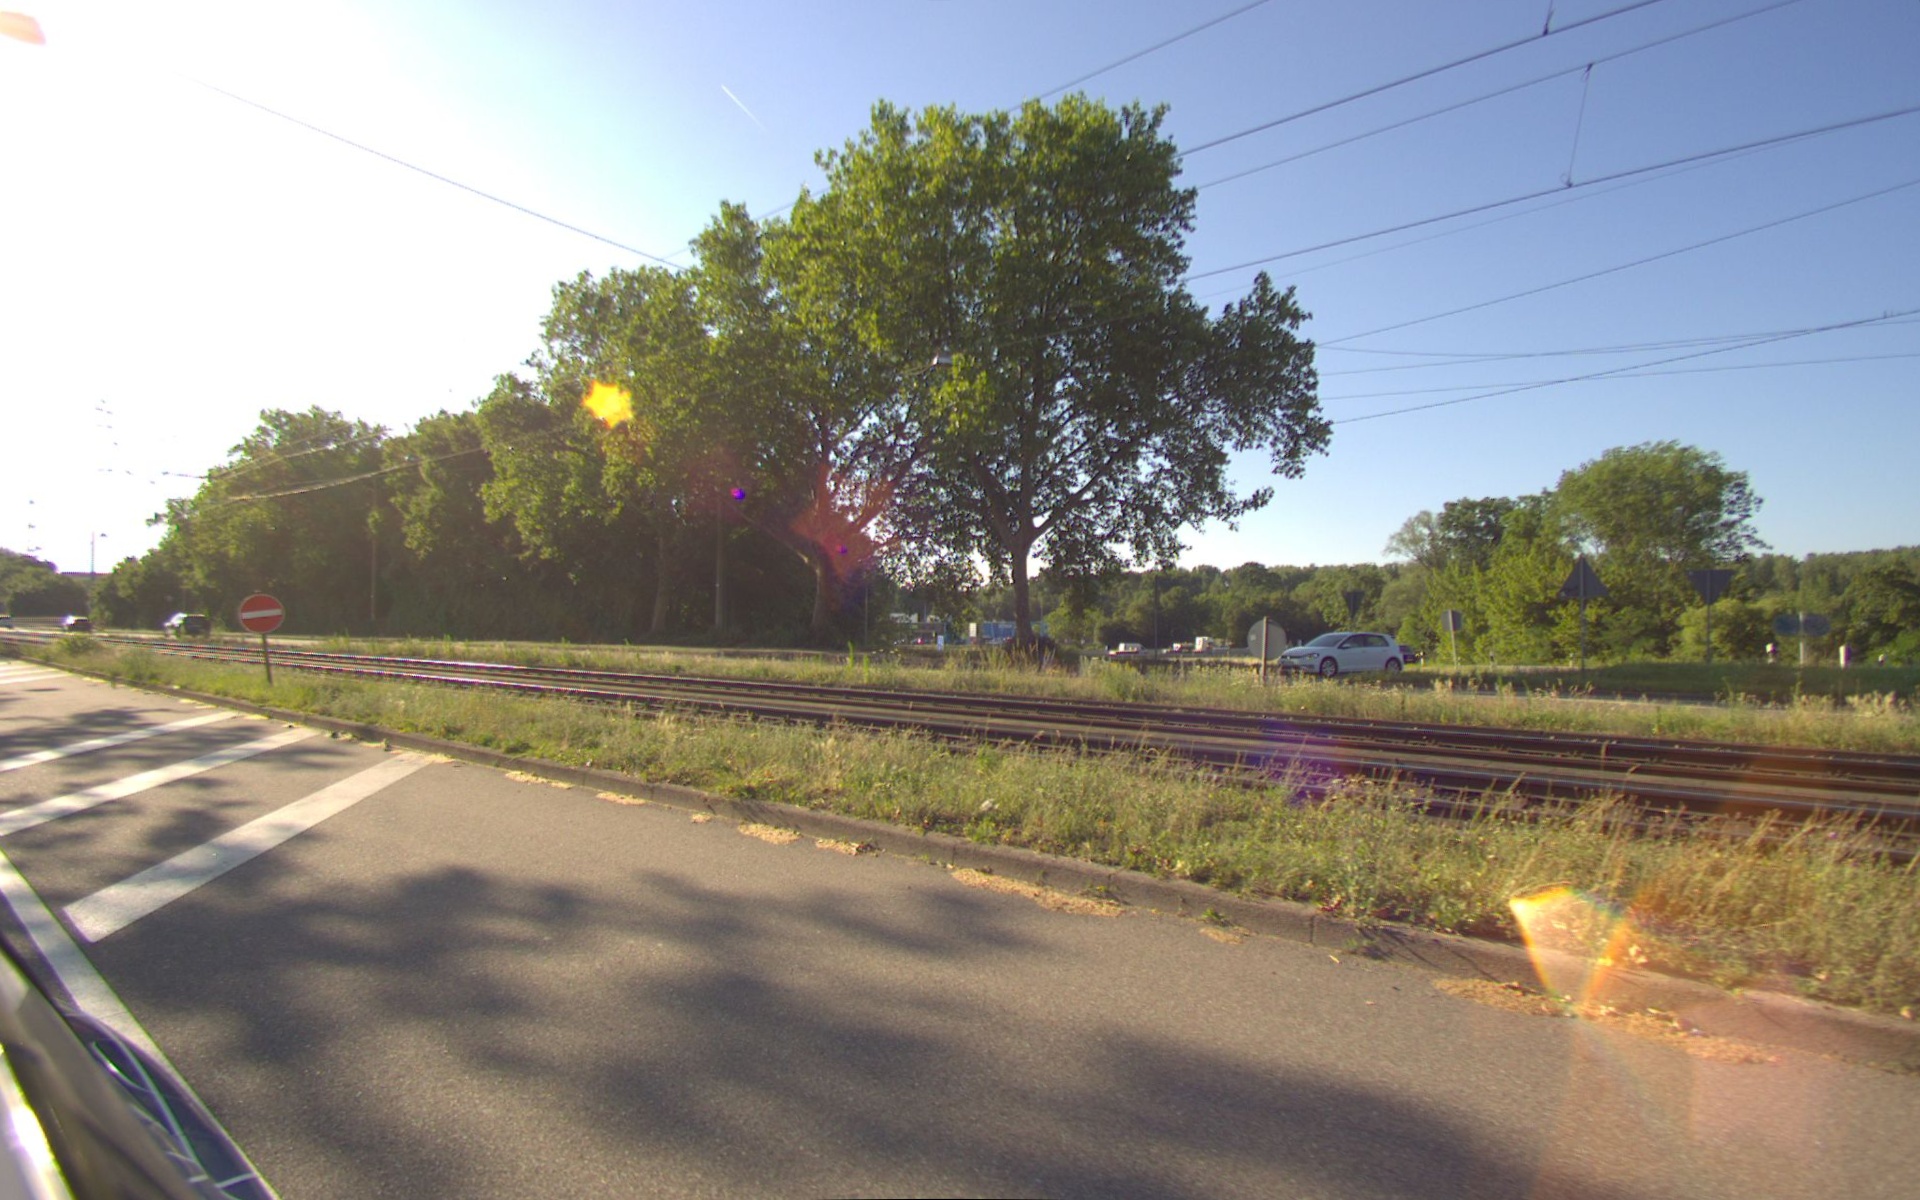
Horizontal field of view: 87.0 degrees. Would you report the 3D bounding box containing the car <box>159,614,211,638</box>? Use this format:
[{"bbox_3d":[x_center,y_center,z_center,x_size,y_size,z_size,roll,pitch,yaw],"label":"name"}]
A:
[{"bbox_3d":[-56.642,1.904,73.970,4.936,1.707,1.879,-1,-3,39],"label":"car"}]

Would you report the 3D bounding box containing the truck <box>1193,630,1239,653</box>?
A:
[{"bbox_3d":[30.600,5.001,121.083,4.944,2.540,2.072,-1,0,-20],"label":"truck"}]

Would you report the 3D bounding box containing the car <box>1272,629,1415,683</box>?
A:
[{"bbox_3d":[12.002,1.743,31.653,4.199,1.537,1.664,2,0,-25],"label":"car"}]

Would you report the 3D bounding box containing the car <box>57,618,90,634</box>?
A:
[{"bbox_3d":[-85.829,2.521,97.940,4.343,1.479,1.693,-2,-4,39],"label":"car"}]

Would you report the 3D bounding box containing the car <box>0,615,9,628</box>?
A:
[{"bbox_3d":[-124.401,2.762,130.471,4.939,1.720,1.943,-1,-3,39],"label":"car"}]

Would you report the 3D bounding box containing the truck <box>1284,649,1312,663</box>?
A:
[{"bbox_3d":[40.567,6.744,121.563,1.634,1.537,4.130,4,-3,-4],"label":"truck"}]
